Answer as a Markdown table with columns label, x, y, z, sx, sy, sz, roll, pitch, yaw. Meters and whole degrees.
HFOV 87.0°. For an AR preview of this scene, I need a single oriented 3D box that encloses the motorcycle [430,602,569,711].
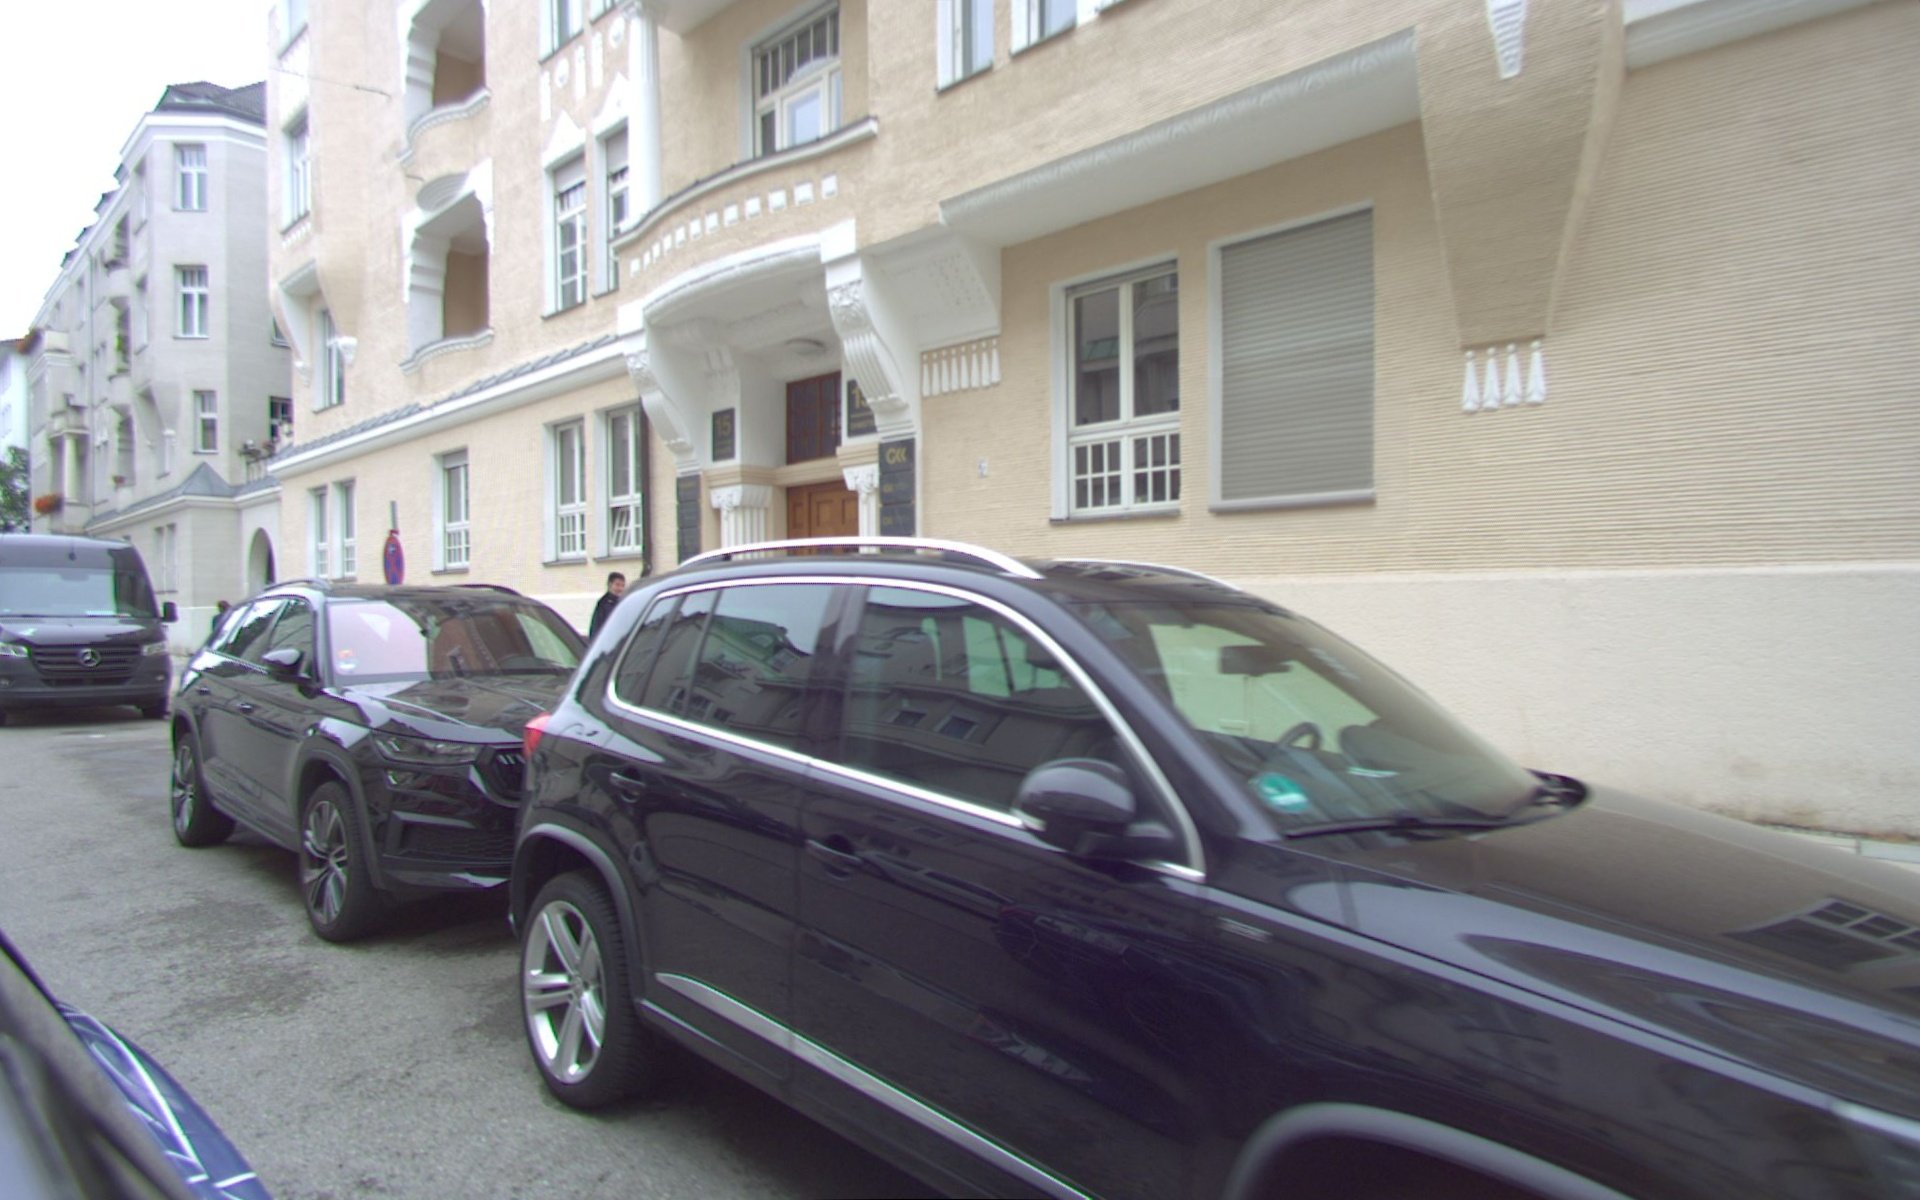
| label | x | y | z | sx | sy | sz | roll | pitch | yaw |
| --- | --- | --- | --- | --- | --- | --- | --- | --- | --- |
| motorcycle | -6.520 | 0.742 | 14.239 | 2.513 | 1.406 | 0.818 | -1 | 0 | 42 |

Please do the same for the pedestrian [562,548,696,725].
| label | x | y | z | sx | sy | sz | roll | pitch | yaw |
| --- | --- | --- | --- | --- | --- | --- | --- | --- | --- |
| pedestrian | -3.478 | 0.361 | 10.638 | 0.939 | 1.741 | 0.982 | -1 | 0 | 41 |

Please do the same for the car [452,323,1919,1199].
| label | x | y | z | sx | sy | sz | roll | pitch | yaw |
| --- | --- | --- | --- | --- | --- | --- | --- | --- | --- |
| car | 0.467 | 0.579 | 2.537 | 4.100 | 1.655 | 1.713 | -1 | -1 | 41 |

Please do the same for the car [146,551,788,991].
| label | x | y | z | sx | sy | sz | roll | pitch | yaw |
| --- | --- | --- | --- | --- | --- | --- | --- | --- | --- |
| car | -3.172 | 0.654 | 6.002 | 4.458 | 1.661 | 1.853 | -1 | 0 | 41 |

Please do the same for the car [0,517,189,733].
| label | x | y | z | sx | sy | sz | roll | pitch | yaw |
| --- | --- | --- | --- | --- | --- | --- | --- | --- | --- |
| car | -13.260 | 0.347 | 14.906 | 5.678 | 2.641 | 2.076 | -1 | -2 | 43 |

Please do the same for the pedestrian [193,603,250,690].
| label | x | y | z | sx | sy | sz | roll | pitch | yaw |
| --- | --- | --- | --- | --- | --- | --- | --- | --- | --- |
| pedestrian | -13.553 | 0.826 | 18.571 | 0.704 | 1.534 | 1.016 | -1 | 0 | -43 |
